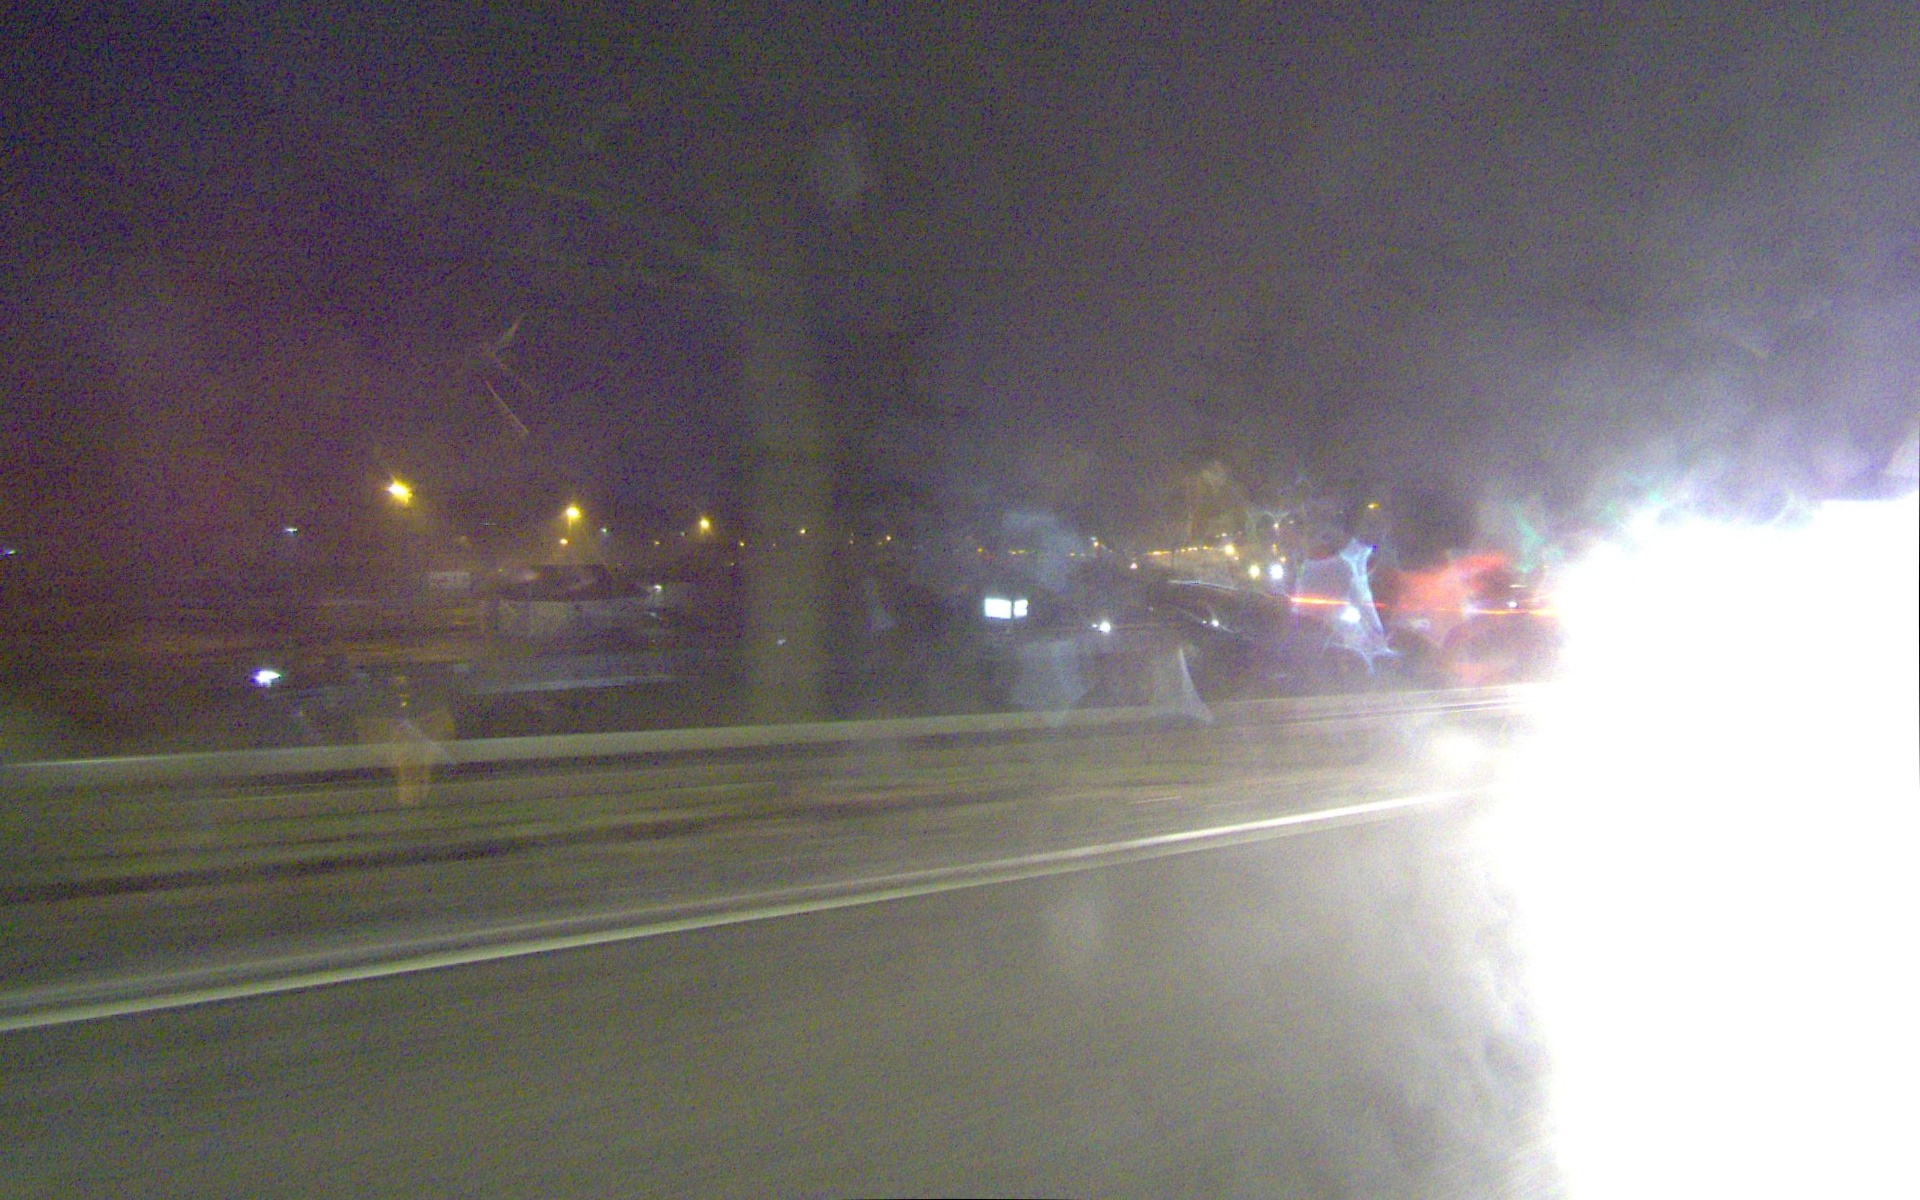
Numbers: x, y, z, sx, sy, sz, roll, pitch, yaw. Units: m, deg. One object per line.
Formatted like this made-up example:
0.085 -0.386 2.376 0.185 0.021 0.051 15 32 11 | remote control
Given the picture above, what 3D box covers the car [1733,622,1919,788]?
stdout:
9.705 0.967 10.306 3.823 1.423 1.718 1 -1 -34 | car
